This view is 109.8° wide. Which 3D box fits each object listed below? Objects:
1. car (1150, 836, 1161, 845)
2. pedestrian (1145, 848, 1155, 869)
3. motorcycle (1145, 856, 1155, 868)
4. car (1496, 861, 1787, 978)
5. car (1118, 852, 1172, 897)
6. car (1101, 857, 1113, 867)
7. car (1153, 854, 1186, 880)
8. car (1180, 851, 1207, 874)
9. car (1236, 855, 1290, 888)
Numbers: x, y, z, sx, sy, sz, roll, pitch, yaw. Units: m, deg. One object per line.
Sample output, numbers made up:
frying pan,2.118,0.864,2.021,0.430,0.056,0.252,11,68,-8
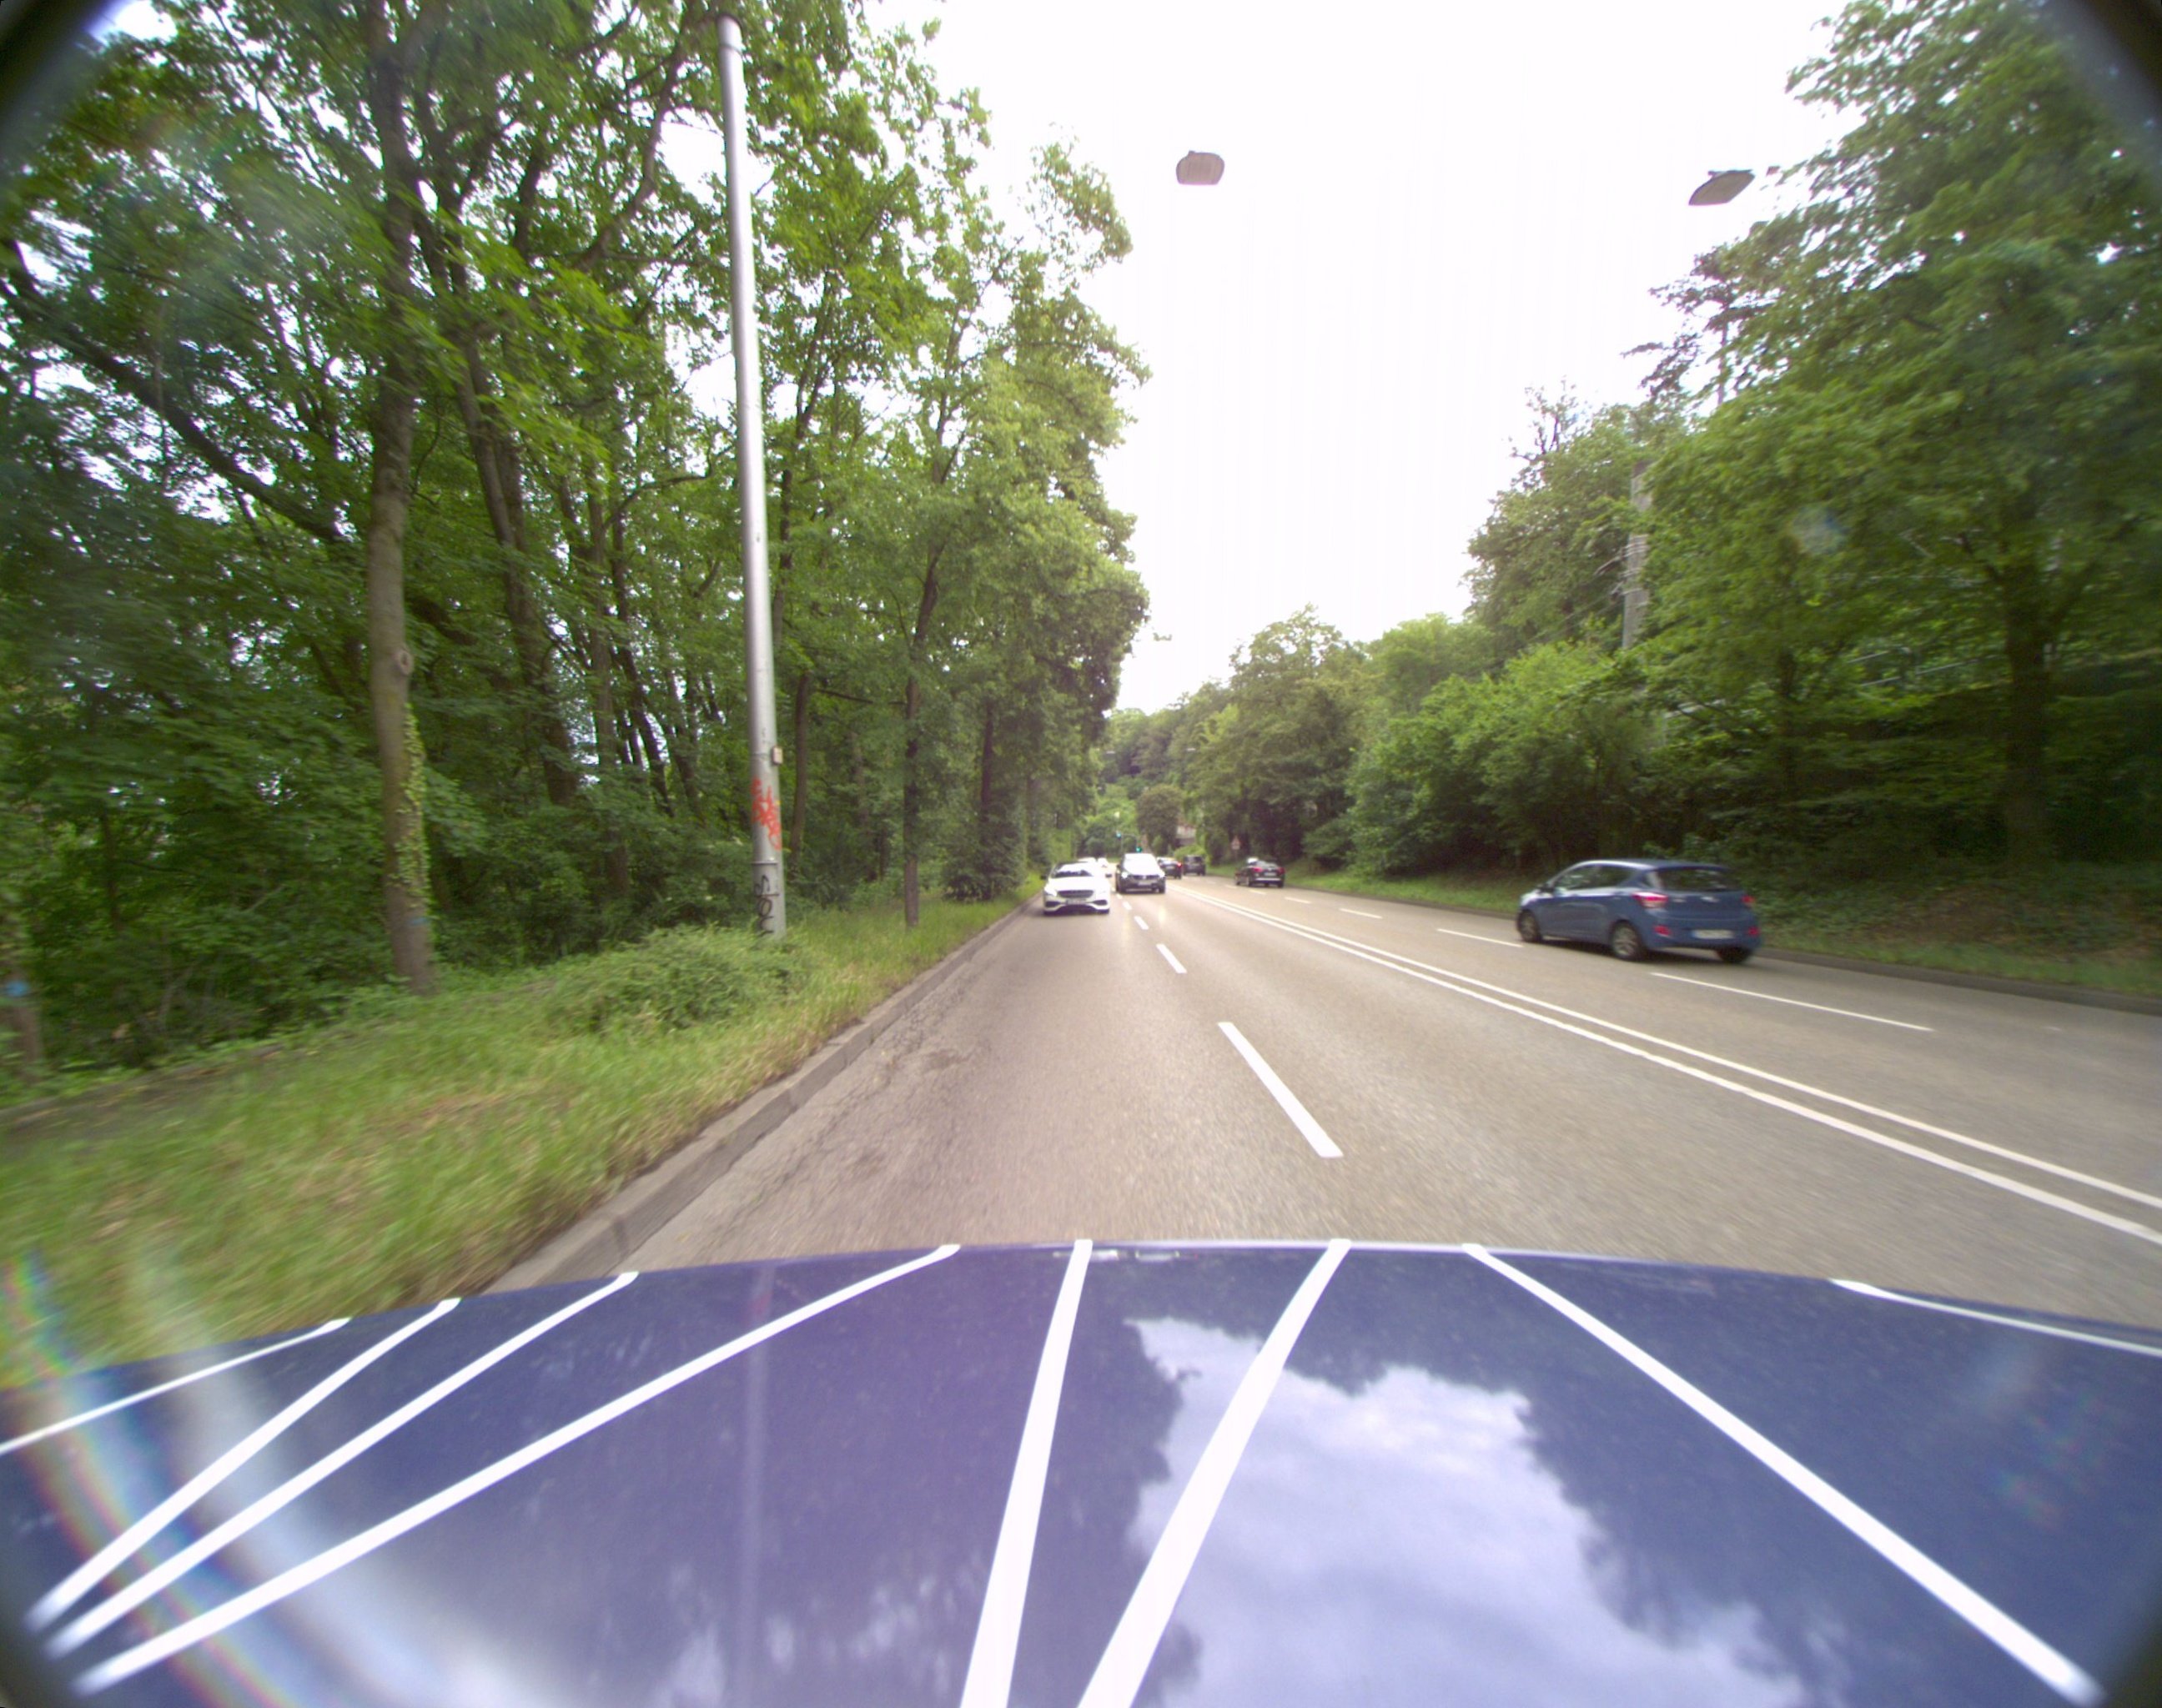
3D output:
car,13.463,-2.483,137.557,1.572,1.543,4.000,-2,0,0
pedestrian,5.790,0.363,63.750,0.664,1.678,0.830,1,1,1
motorcycle,5.802,0.681,63.913,0.701,0.993,2.026,1,0,1
car,8.586,0.900,12.156,1.674,1.477,3.999,0,1,0
car,2.590,0.796,31.459,1.871,1.653,4.192,1,1,0
car,4.250,1.269,124.708,1.697,1.573,3.999,-2,1,-1
car,6.077,0.881,52.764,1.690,1.453,4.000,-8,0,1
car,9.476,0.687,63.979,1.662,1.762,4.135,1,1,1
car,9.179,0.830,38.717,1.736,1.502,4.433,1,1,1
